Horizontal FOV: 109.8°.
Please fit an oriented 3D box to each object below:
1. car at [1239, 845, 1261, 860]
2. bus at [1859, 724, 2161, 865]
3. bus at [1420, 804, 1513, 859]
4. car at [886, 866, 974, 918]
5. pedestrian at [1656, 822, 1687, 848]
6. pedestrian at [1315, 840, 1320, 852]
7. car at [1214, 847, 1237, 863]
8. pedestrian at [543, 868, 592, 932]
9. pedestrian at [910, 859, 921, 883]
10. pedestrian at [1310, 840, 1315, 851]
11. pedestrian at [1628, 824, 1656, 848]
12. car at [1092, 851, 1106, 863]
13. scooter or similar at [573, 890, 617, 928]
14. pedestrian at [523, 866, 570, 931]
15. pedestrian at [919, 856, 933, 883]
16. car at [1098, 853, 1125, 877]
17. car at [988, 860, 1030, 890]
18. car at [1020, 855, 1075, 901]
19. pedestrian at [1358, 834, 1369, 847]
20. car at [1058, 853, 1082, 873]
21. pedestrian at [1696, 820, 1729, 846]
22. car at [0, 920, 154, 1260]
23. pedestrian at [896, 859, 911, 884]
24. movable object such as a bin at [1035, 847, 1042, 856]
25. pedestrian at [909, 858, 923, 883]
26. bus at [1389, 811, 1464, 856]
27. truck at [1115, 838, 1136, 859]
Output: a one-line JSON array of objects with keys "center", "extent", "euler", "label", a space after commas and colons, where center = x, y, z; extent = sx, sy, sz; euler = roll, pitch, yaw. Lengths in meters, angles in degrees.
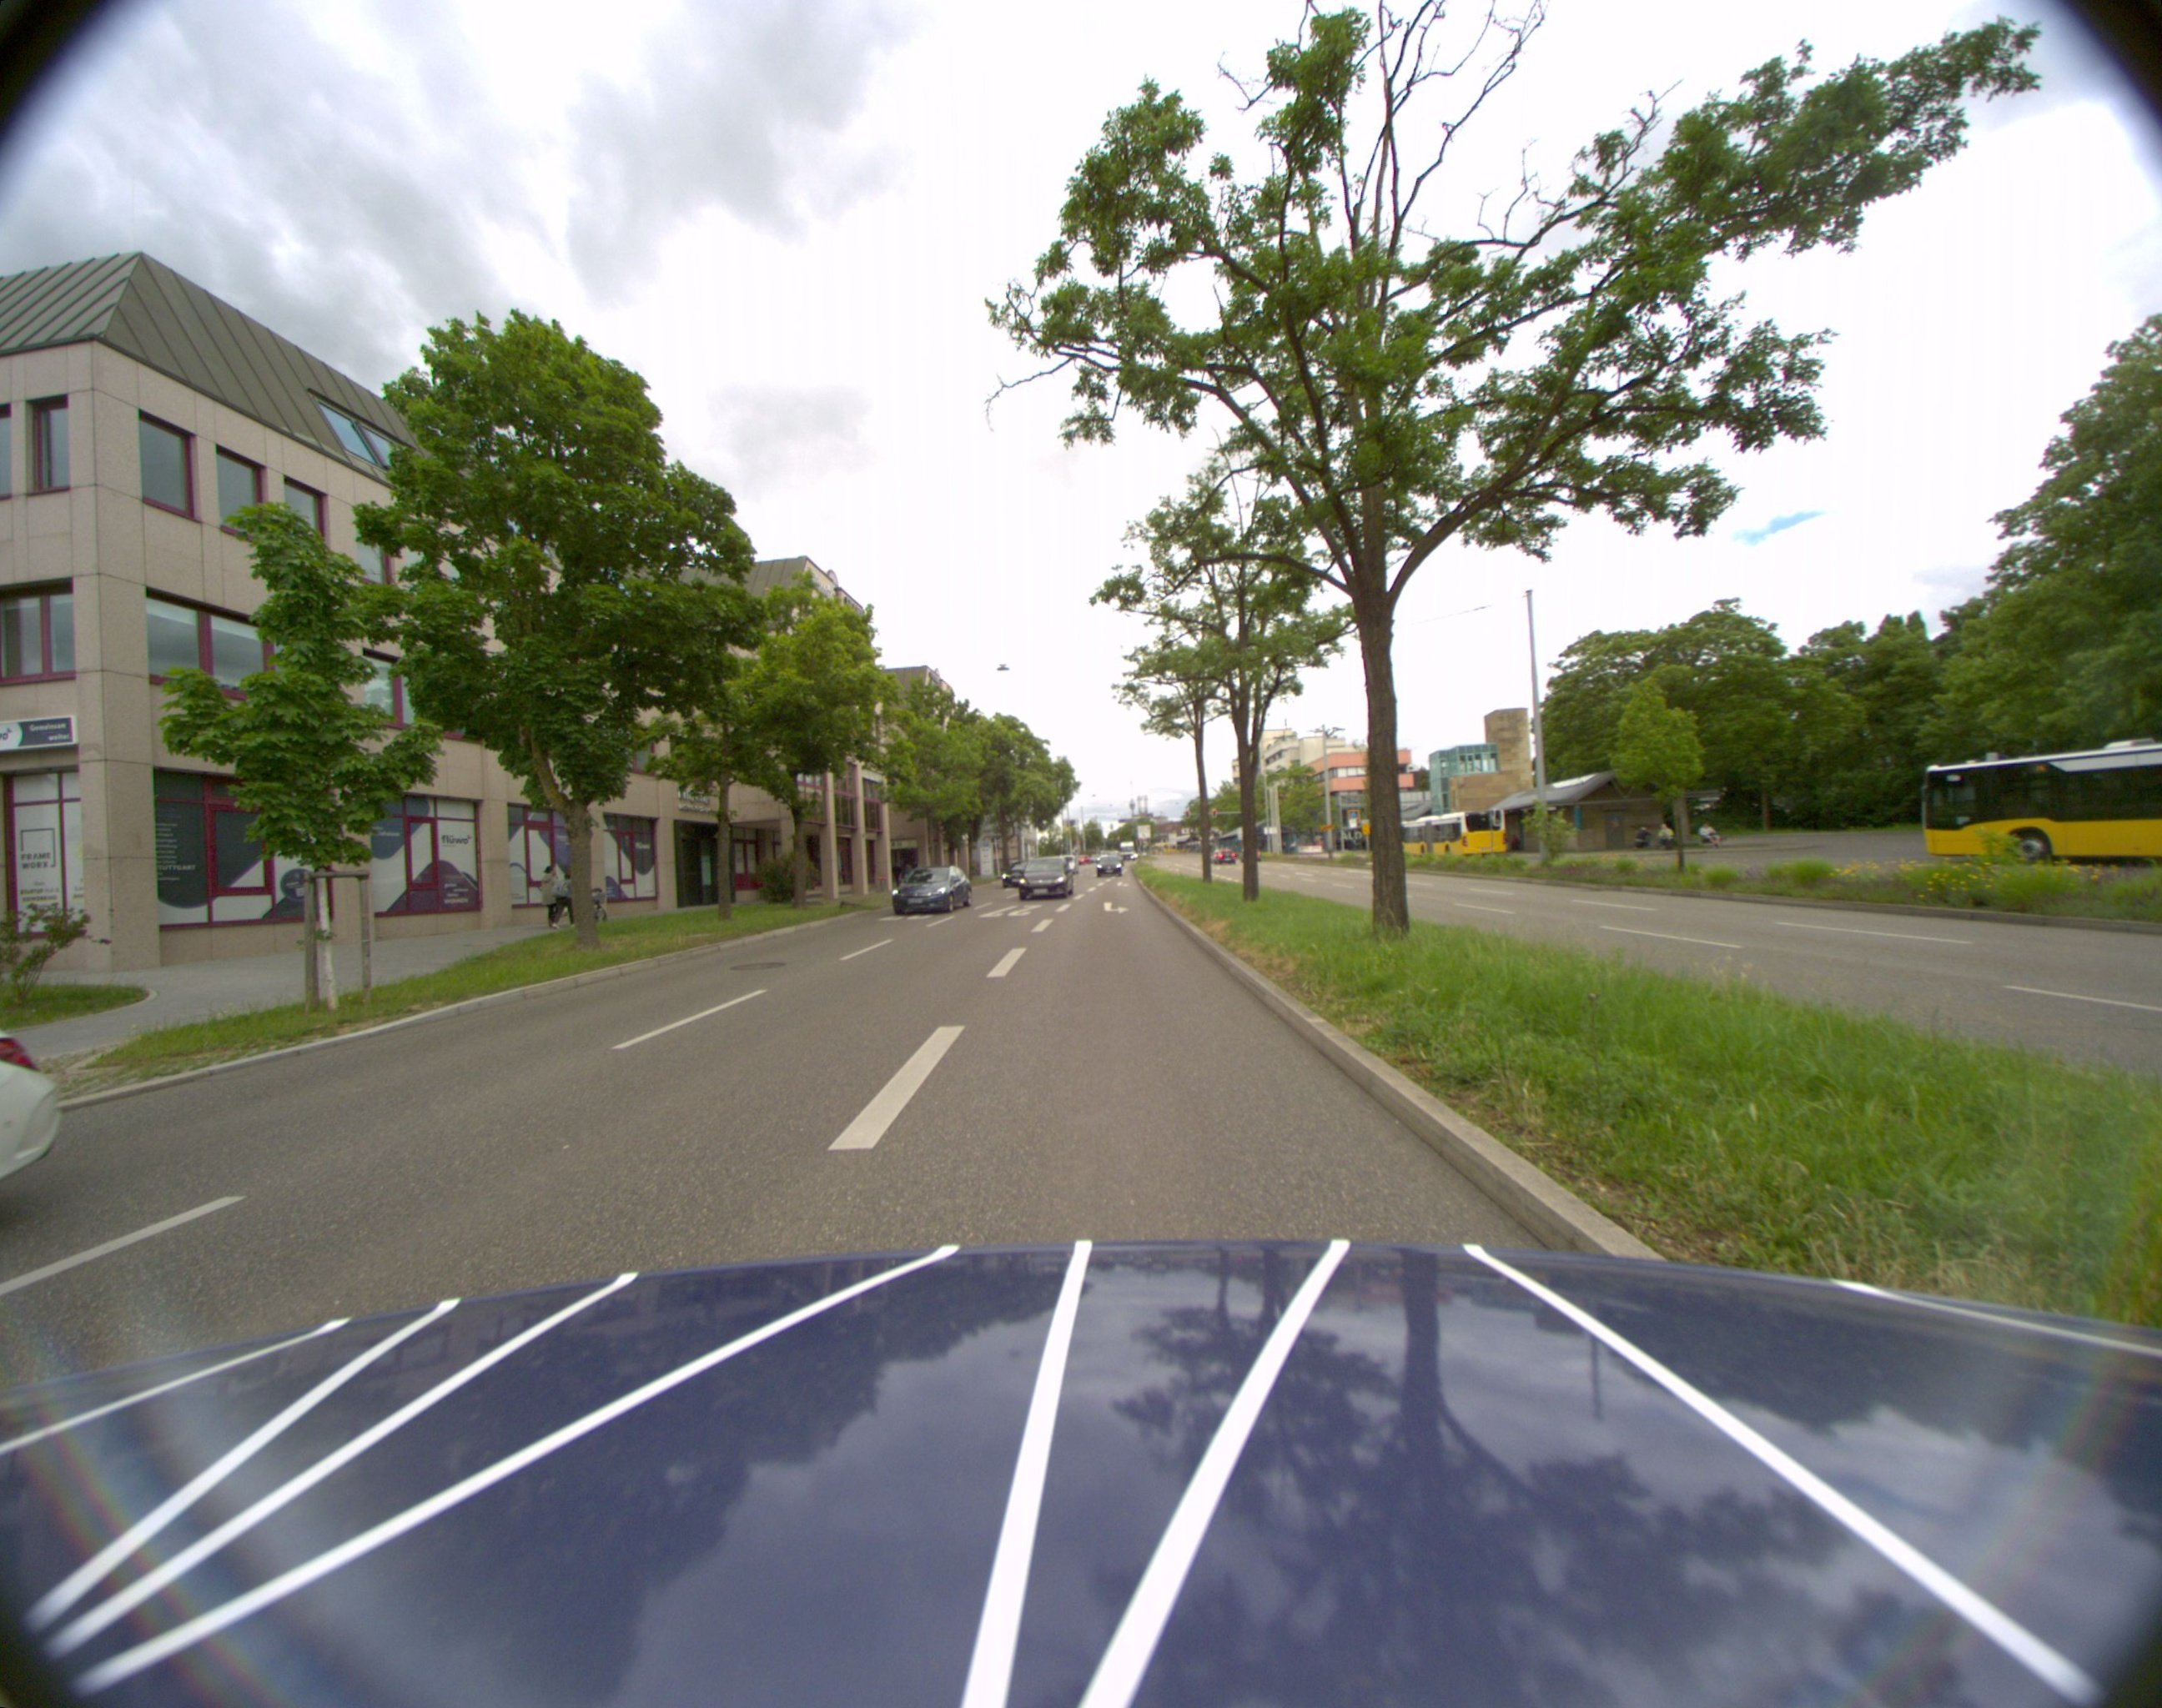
[{"center": [18.326, -0.156, 82.607], "extent": [1.819, 1.499, 4.001], "euler": [-3, 1, 6], "label": "car"}, {"center": [25.805, -1.400, 18.587], "extent": [3.090, 3.144, 10.740], "euler": [-3, 0, 4], "label": "bus"}, {"center": [25.900, -1.426, 51.609], "extent": [2.814, 3.113, 9.306], "euler": [-5, 0, 10], "label": "bus"}, {"center": [-4.707, 1.138, 24.361], "extent": [1.972, 1.431, 4.312], "euler": [-1, 0, 0], "label": "car"}, {"center": [30.333, -0.984, 39.020], "extent": [0.859, 1.283, 0.894], "euler": [-3, 1, -22], "label": "pedestrian"}, {"center": [32.572, -1.081, 104.676], "extent": [0.485, 1.539, 0.383], "euler": [-3, 1, -6], "label": "pedestrian"}, {"center": [14.503, 0.059, 76.547], "extent": [1.662, 1.499, 3.769], "euler": [-3, 1, 2], "label": "car"}, {"center": [-13.676, 1.209, 20.258], "extent": [0.556, 1.643, 0.962], "euler": [-1, 1, 7], "label": "pedestrian"}, {"center": [-10.918, 1.131, 50.068], "extent": [0.562, 1.541, 0.544], "euler": [-1, 1, 5], "label": "pedestrian"}, {"center": [31.805, -1.145, 104.232], "extent": [0.529, 1.539, 0.754], "euler": [-3, 1, 18], "label": "pedestrian"}, {"center": [30.393, -0.979, 41.163], "extent": [0.859, 1.247, 0.894], "euler": [-3, 1, -27], "label": "pedestrian"}, {"center": [3.092, 0.501, 129.924], "extent": [2.020, 1.760, 4.001], "euler": [-3, 0, 3], "label": "car"}, {"center": [-13.528, 1.526, 21.159], "extent": [0.585, 0.988, 0.847], "euler": [-1, 1, 7], "label": "scooter or similar"}, {"center": [-14.464, 1.197, 20.581], "extent": [0.568, 1.690, 0.829], "euler": [-3, 1, 5], "label": "pedestrian"}, {"center": [-10.509, 1.037, 51.605], "extent": [0.659, 1.815, 0.843], "euler": [-1, 1, 5], "label": "pedestrian"}, {"center": [2.199, 0.757, 54.636], "extent": [1.763, 1.531, 4.048], "euler": [-2, 0, 3], "label": "car"}, {"center": [-3.931, 1.106, 42.113], "extent": [1.768, 1.440, 4.420], "euler": [-3, 1, 0], "label": "car"}, {"center": [-1.266, 0.882, 30.176], "extent": [1.972, 1.631, 4.312], "euler": [-2, 0, 0], "label": "car"}, {"center": [33.394, -1.591, 89.810], "extent": [0.991, 1.452, 0.592], "euler": [-3, 1, 6], "label": "pedestrian"}, {"center": [-0.882, 0.777, 65.685], "extent": [1.763, 1.625, 4.156], "euler": [-2, 0, 3], "label": "car"}, {"center": [31.804, -1.045, 38.274], "extent": [0.895, 1.247, 0.858], "euler": [-3, 1, 2], "label": "pedestrian"}, {"center": [-5.791, 1.138, 1.579], "extent": [1.798, 1.464, 4.699], "euler": [-3, 1, 2], "label": "car"}, {"center": [-12.096, 1.162, 51.807], "extent": [0.659, 1.681, 0.843], "euler": [-1, 1, 5], "label": "pedestrian"}, {"center": [-5.157, -0.314, 91.924], "extent": [0.627, 1.098, 0.710], "euler": [-3, 1, 5], "label": "movable object such as a bin"}, {"center": [-11.267, 1.098, 51.782], "extent": [0.659, 1.681, 0.843], "euler": [-1, 1, 5], "label": "pedestrian"}, {"center": [27.431, -1.529, 60.795], "extent": [2.781, 3.113, 9.444], "euler": [-5, 0, 9], "label": "bus"}, {"center": [7.548, -1.007, 129.291], "extent": [3.118, 3.209, 6.523], "euler": [-4, 1, 1], "label": "truck"}]
